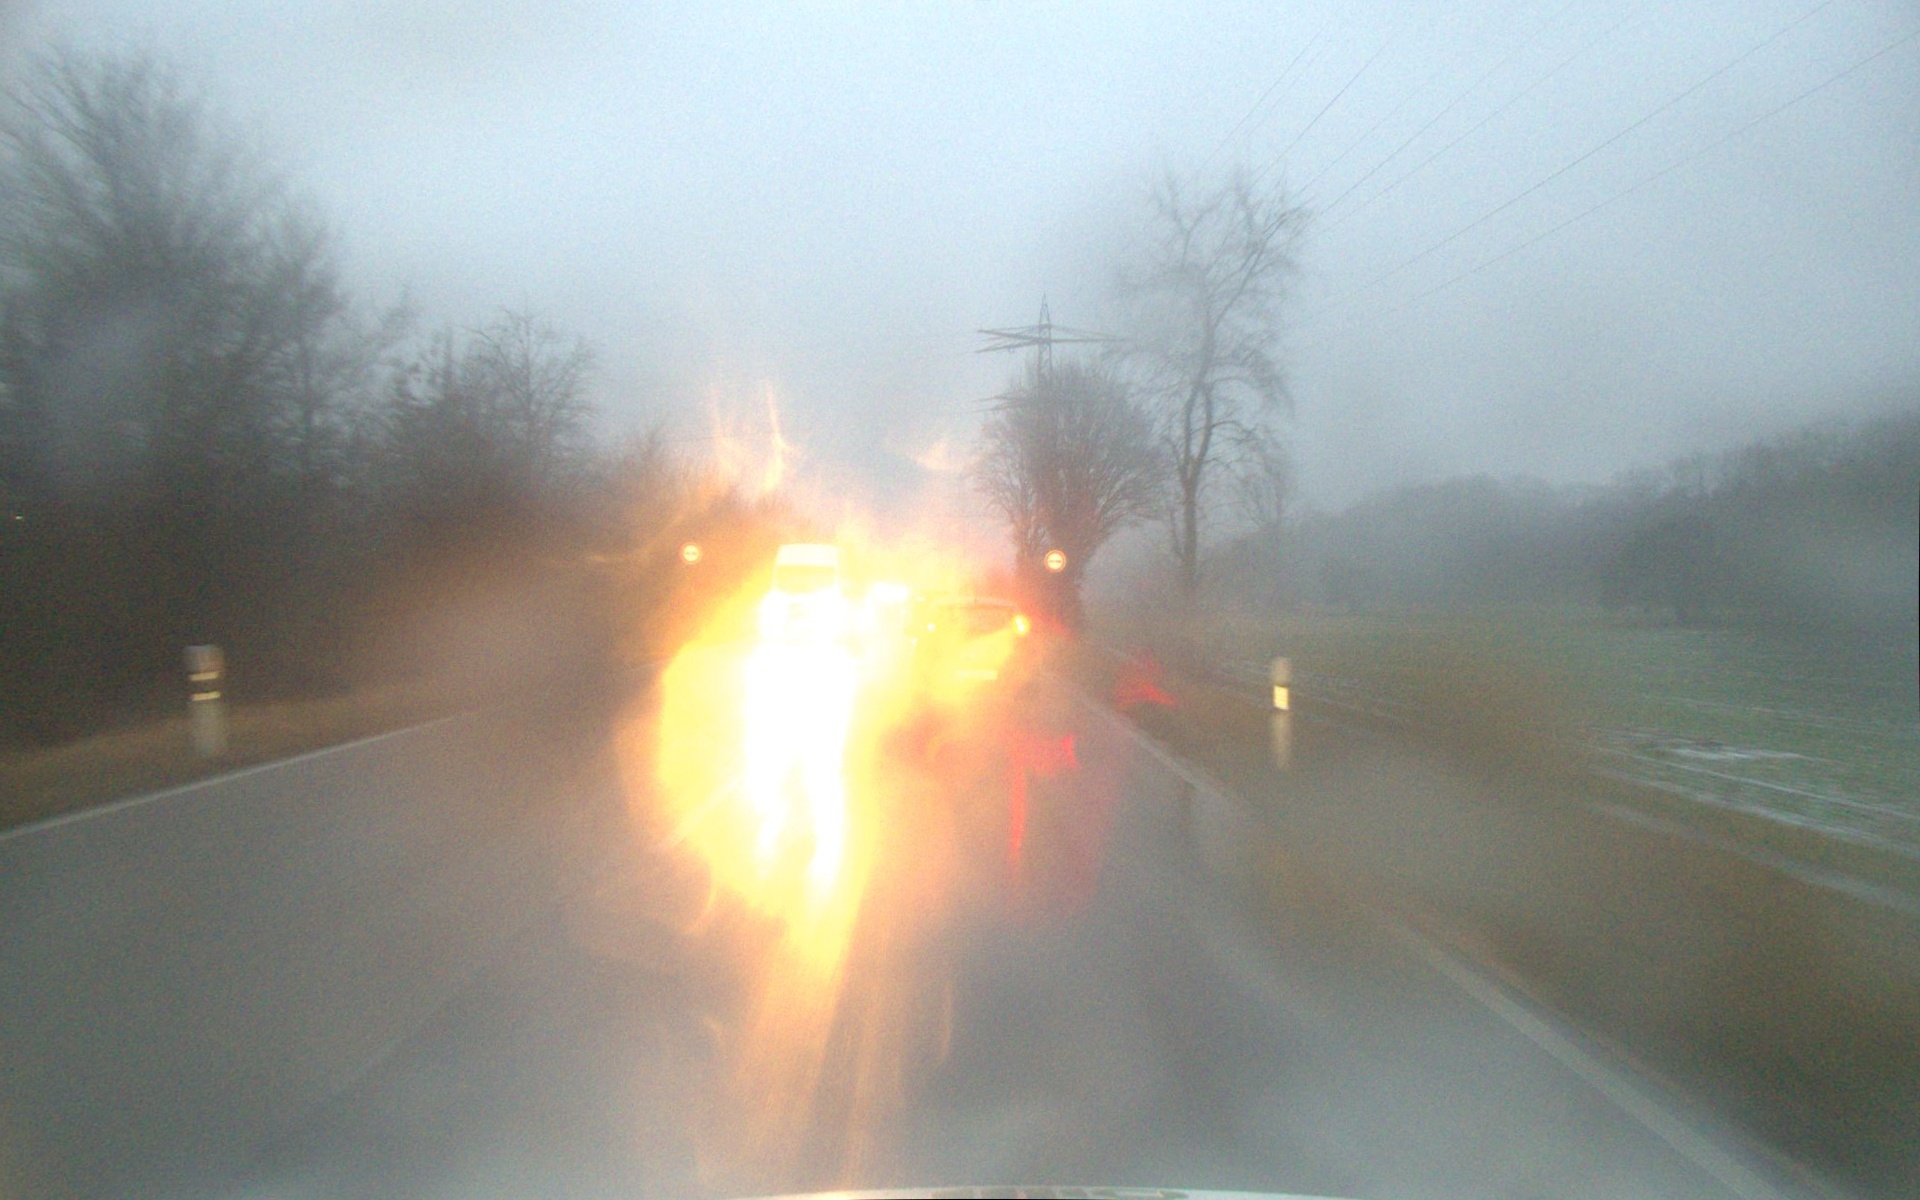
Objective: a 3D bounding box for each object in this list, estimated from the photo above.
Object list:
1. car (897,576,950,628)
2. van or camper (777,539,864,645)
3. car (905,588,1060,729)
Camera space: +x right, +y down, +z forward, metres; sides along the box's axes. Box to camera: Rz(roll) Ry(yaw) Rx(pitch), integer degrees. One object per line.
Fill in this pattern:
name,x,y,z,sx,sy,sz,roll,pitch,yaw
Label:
car,-1.447,0.064,67.099,1.952,2.049,4.000,0,0,1
van or camper,-3.928,-0.216,47.594,1.980,2.825,6.742,0,0,-1
car,0.251,0.739,22.960,1.953,1.783,3.999,0,0,-1
